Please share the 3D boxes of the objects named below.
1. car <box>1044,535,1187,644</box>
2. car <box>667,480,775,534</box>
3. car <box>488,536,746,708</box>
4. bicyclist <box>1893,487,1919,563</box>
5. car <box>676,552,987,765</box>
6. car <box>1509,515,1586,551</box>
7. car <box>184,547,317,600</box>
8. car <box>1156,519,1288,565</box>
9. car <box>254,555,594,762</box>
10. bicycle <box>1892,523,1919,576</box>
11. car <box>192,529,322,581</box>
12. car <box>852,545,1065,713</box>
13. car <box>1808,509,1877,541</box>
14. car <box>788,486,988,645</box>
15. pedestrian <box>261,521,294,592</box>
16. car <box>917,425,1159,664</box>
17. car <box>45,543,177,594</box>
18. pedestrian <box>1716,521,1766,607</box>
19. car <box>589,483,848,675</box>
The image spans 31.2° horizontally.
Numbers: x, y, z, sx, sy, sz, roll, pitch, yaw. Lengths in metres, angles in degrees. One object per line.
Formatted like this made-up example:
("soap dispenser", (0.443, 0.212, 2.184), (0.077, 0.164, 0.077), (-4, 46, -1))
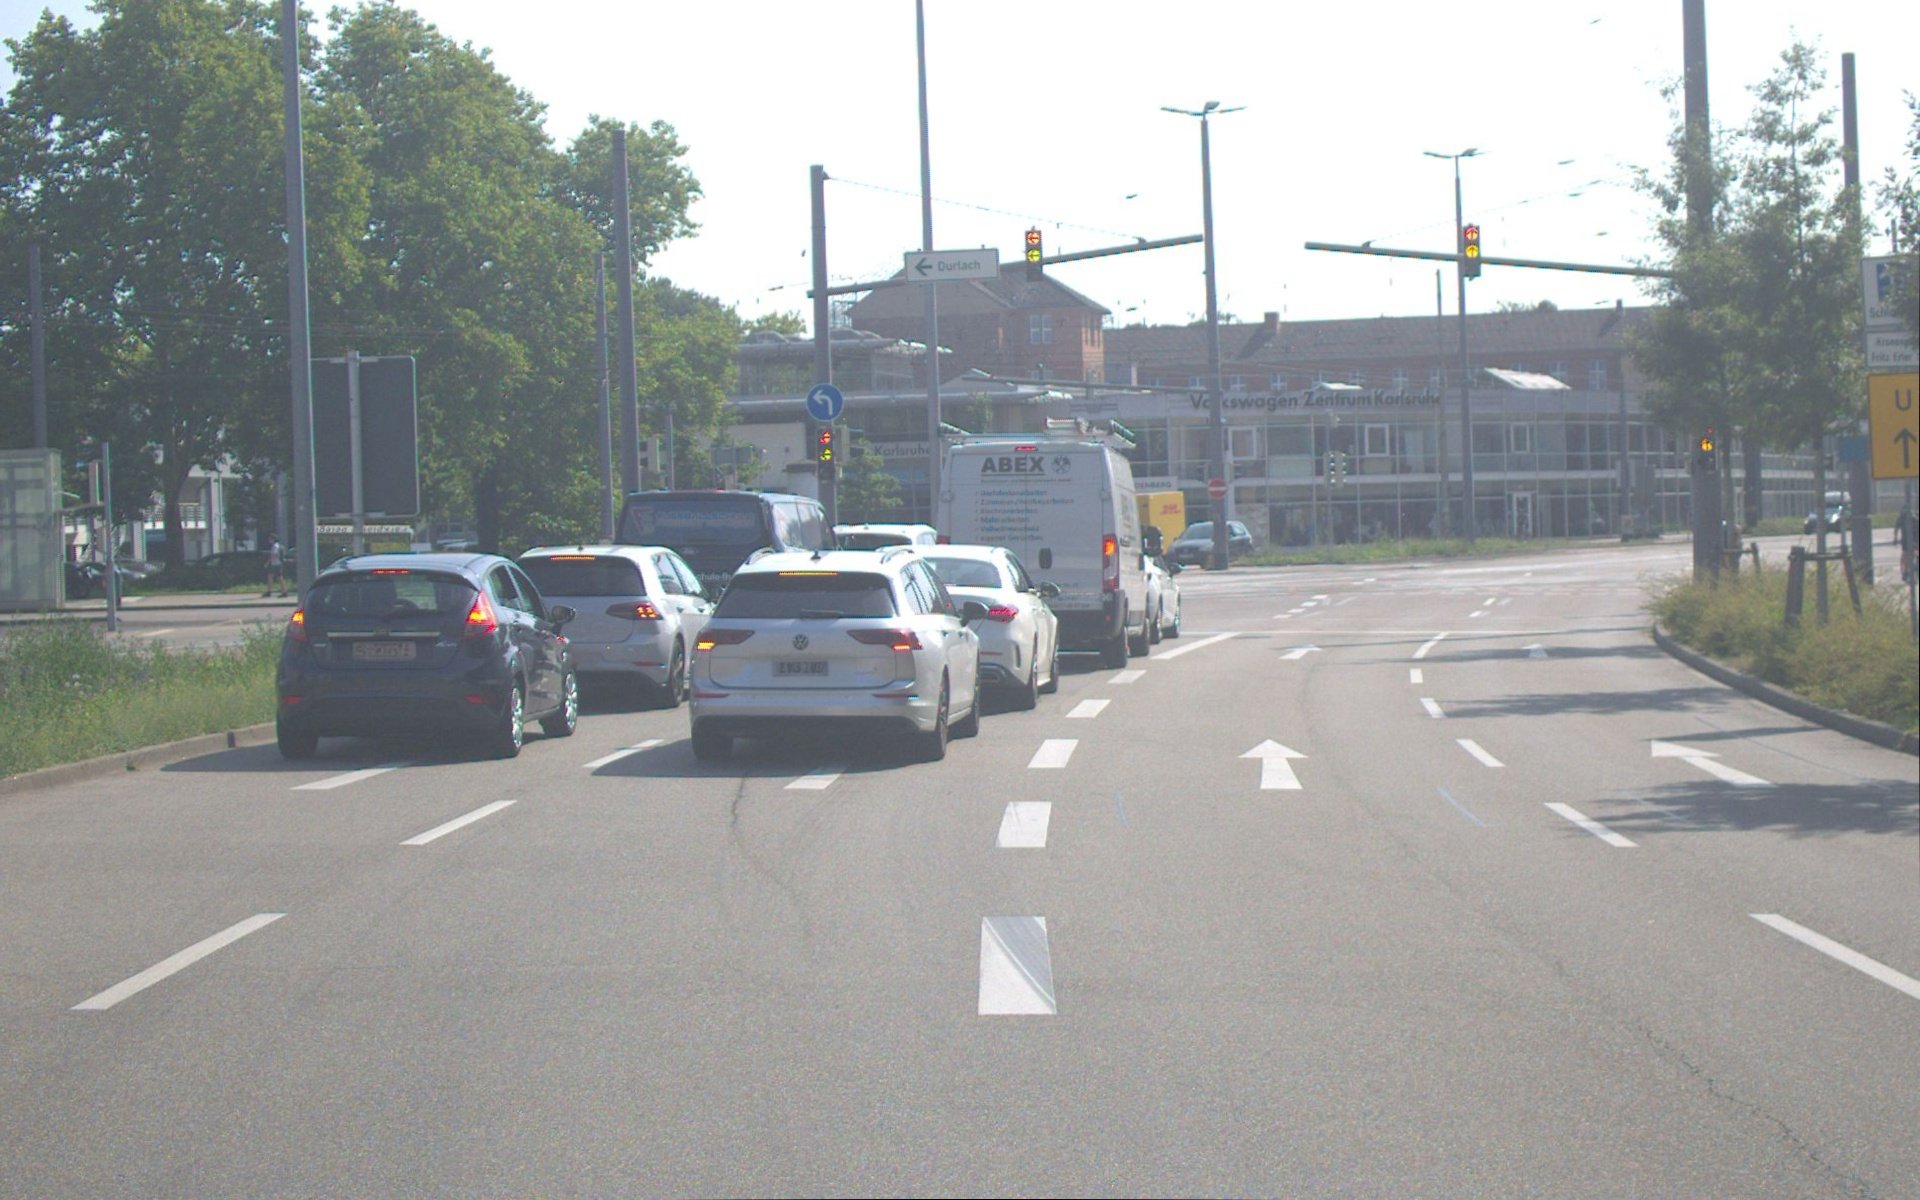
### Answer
("car", (2.164, -0.166, 47.135), (1.637, 1.398, 3.686), (-1, 1, 7))
("car", (-9.483, -3.714, 136.606), (3.987, 2.006, 2.000), (-1, 4, 4))
("car", (-3.063, 0.158, 31.381), (1.490, 1.410, 3.647), (-1, 2, 8))
("bicyclist", (19.543, -1.544, 70.516), (0.713, 1.524, 0.806), (-1, 1, 19))
("car", (-0.834, 0.365, 24.410), (1.685, 1.383, 3.633), (-1, 1, 6))
("car", (25.341, -2.905, 148.126), (1.997, 1.437, 3.994), (-1, 1, 29))
("car", (-23.285, -0.878, 112.908), (3.986, 1.612, 1.814), (-2, 1, -3))
("car", (8.192, -1.829, 107.848), (3.965, 1.337, 1.930), (-2, 1, 1))
("car", (-3.853, 0.372, 25.328), (1.701, 1.363, 3.963), (-1, 1, 3))
("bicycle", (19.568, -1.043, 70.529), (0.706, 1.057, 1.980), (-1, 1, 19))
("car", (-23.509, -1.527, 115.053), (3.986, 1.612, 1.814), (-2, 1, -3))
("car", (0.043, 0.224, 30.929), (1.489, 1.398, 3.941), (-1, 1, 6))
("car", (42.742, -3.630, 166.488), (1.997, 1.437, 3.993), (-1, 1, 34))
("car", (-0.911, -0.489, 46.311), (2.024, 2.001, 4.682), (-1, 1, 7))
("pedestrian", (-19.747, -1.258, 99.470), (0.822, 2.007, 0.509), (-2, 1, -5))
("car", (0.971, -0.625, 39.491), (2.189, 2.540, 4.682), (-1, 1, 8))
("car", (-27.776, -1.029, 112.579), (3.986, 1.552, 1.728), (-2, 1, -8))
("pedestrian", (12.424, -0.575, 54.695), (0.636, 1.357, 0.634), (-1, 1, 2))
("car", (-2.628, -0.261, 38.661), (2.024, 2.001, 4.682), (-1, 1, 7))
